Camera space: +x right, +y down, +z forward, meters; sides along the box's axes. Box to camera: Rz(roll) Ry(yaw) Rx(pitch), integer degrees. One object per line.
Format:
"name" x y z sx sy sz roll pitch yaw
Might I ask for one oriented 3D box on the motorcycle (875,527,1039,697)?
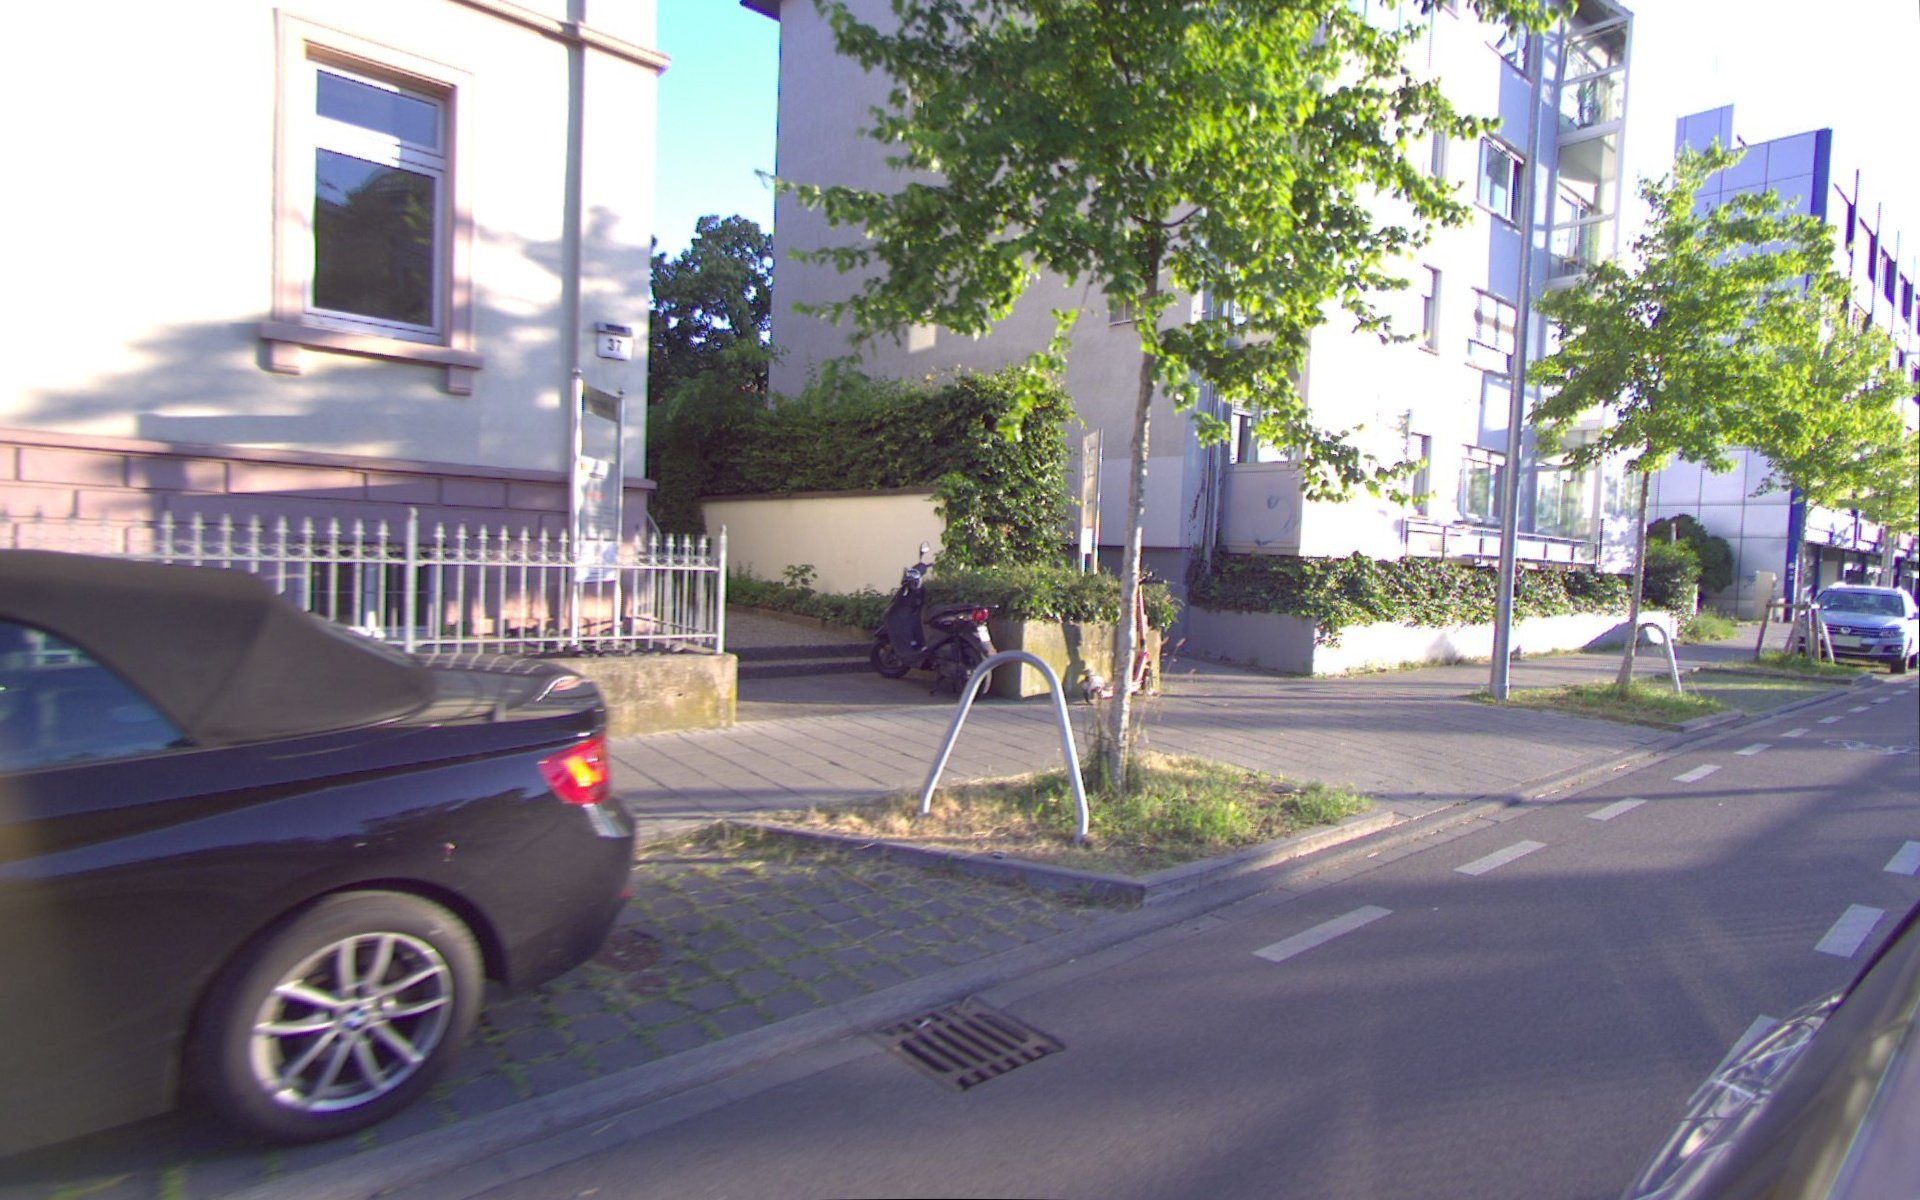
"motorcycle" -0.058 0.074 9.552 0.615 1.430 1.499 2 4 -43

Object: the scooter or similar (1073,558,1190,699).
"scooter or similar" 1.664 0.243 9.764 1.188 1.274 0.491 -1 2 -44

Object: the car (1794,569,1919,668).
"car" 18.843 0.326 20.873 4.181 1.727 1.858 0 4 -42

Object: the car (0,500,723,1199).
"car" -2.972 0.510 2.340 4.370 1.488 1.796 0 6 -43
